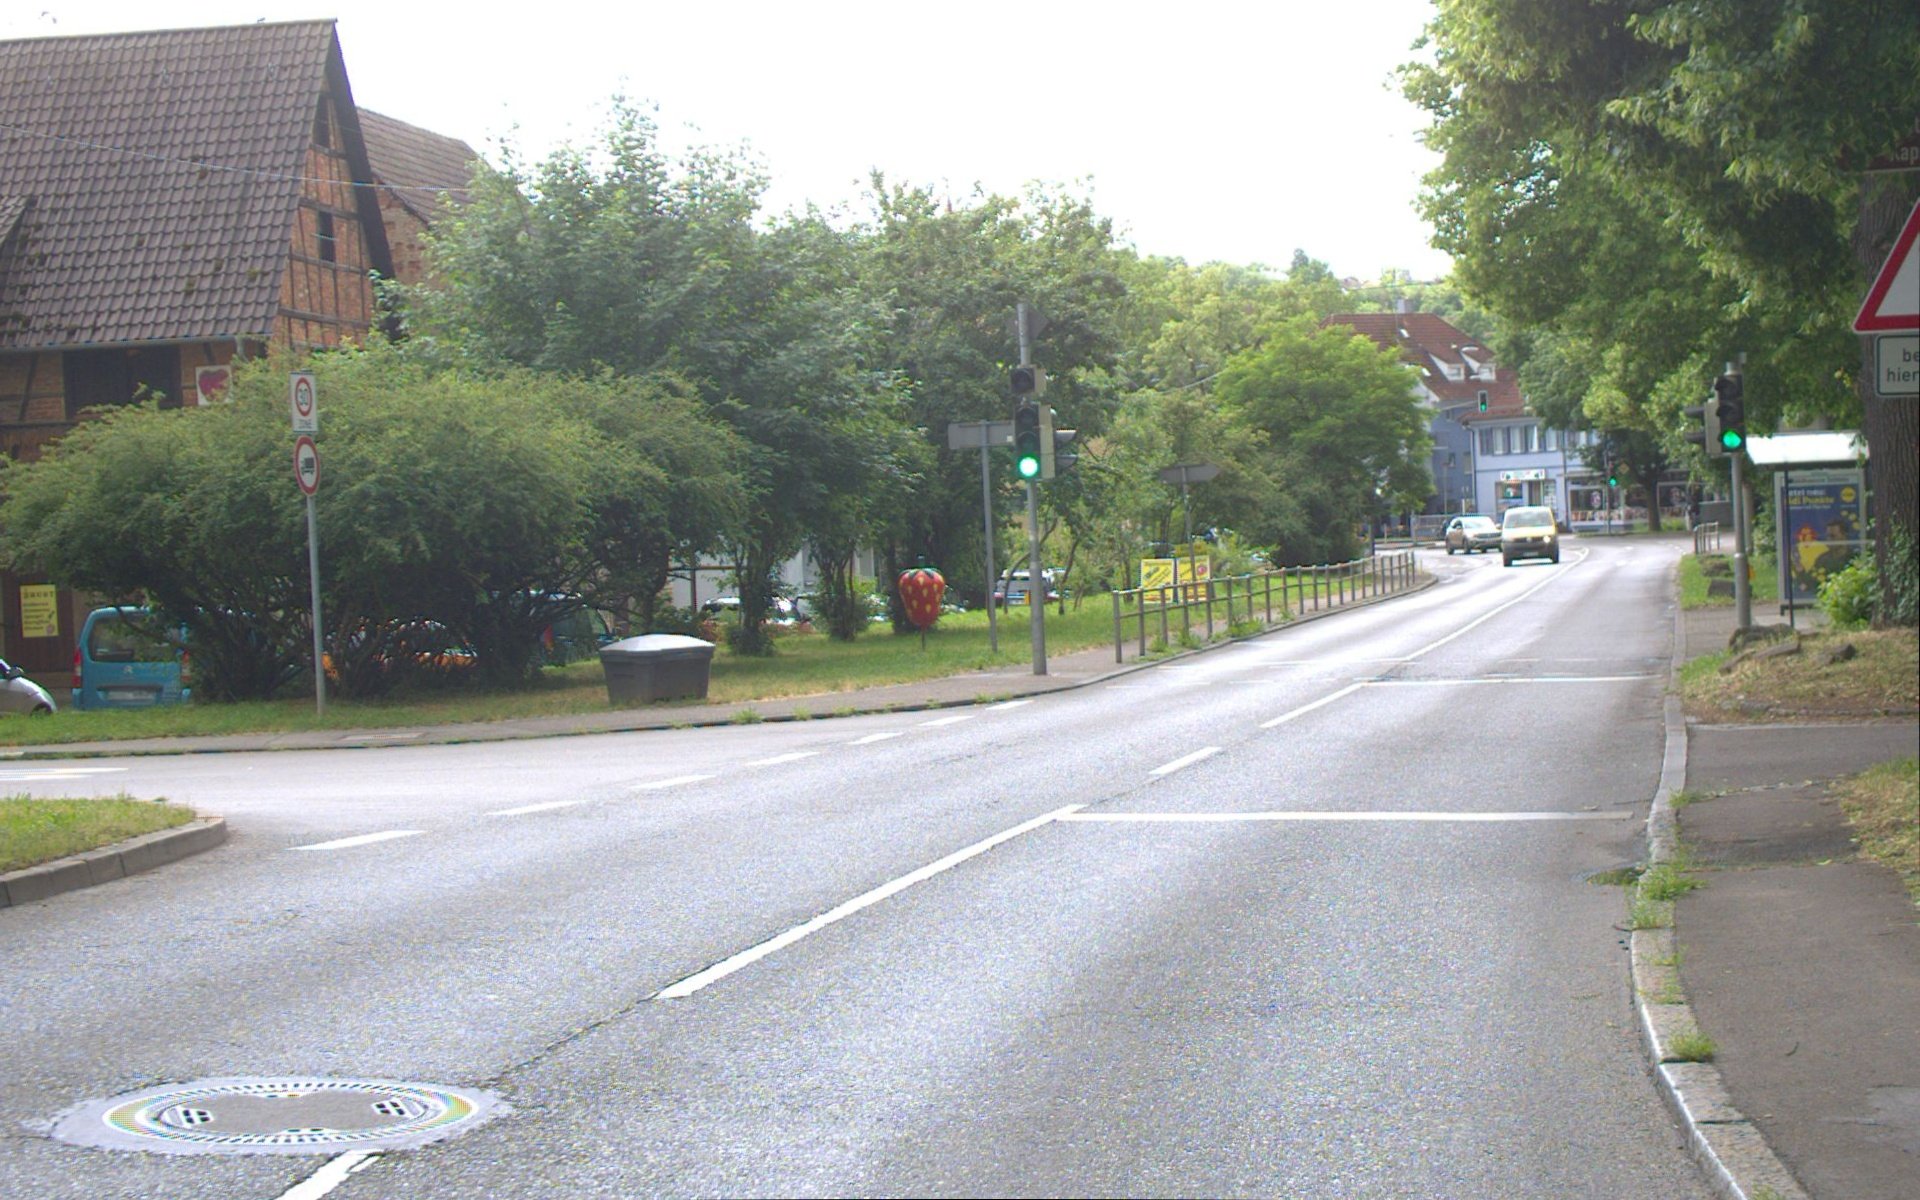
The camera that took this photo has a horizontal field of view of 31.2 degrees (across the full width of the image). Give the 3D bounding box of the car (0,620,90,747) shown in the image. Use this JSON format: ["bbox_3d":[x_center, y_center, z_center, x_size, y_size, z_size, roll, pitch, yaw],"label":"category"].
[{"bbox_3d":[-11.371,0.993,38.048,1.646,1.340,4.150,-4,0,12],"label":"car"}]

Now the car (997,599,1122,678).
[{"bbox_3d":[2.476,0.936,84.233,1.922,1.689,3.997,-3,0,18],"label":"car"}]

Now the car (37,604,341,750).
[{"bbox_3d":[-9.997,0.968,44.950,1.995,1.612,4.445,-4,0,14],"label":"car"}]

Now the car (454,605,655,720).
[{"bbox_3d":[-6.551,0.985,55.957,1.813,1.612,3.997,-4,0,15],"label":"car"}]

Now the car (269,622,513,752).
[{"bbox_3d":[-8.262,1.238,50.273,1.949,1.612,3.997,-4,0,15],"label":"car"}]

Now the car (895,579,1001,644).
[{"bbox_3d":[-0.258,0.249,76.085,1.554,1.273,2.552,-3,0,18],"label":"car"}]

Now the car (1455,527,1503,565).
[{"bbox_3d":[22.315,-2.345,147.737,1.705,1.506,3.998,-4,0,12],"label":"car"}]

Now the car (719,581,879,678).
[{"bbox_3d":[-3.023,0.532,65.295,1.813,1.612,3.997,-4,0,15],"label":"car"}]

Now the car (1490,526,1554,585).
[{"bbox_3d":[19.285,-1.545,117.848,1.846,1.924,4.767,-2,1,12],"label":"car"}]
